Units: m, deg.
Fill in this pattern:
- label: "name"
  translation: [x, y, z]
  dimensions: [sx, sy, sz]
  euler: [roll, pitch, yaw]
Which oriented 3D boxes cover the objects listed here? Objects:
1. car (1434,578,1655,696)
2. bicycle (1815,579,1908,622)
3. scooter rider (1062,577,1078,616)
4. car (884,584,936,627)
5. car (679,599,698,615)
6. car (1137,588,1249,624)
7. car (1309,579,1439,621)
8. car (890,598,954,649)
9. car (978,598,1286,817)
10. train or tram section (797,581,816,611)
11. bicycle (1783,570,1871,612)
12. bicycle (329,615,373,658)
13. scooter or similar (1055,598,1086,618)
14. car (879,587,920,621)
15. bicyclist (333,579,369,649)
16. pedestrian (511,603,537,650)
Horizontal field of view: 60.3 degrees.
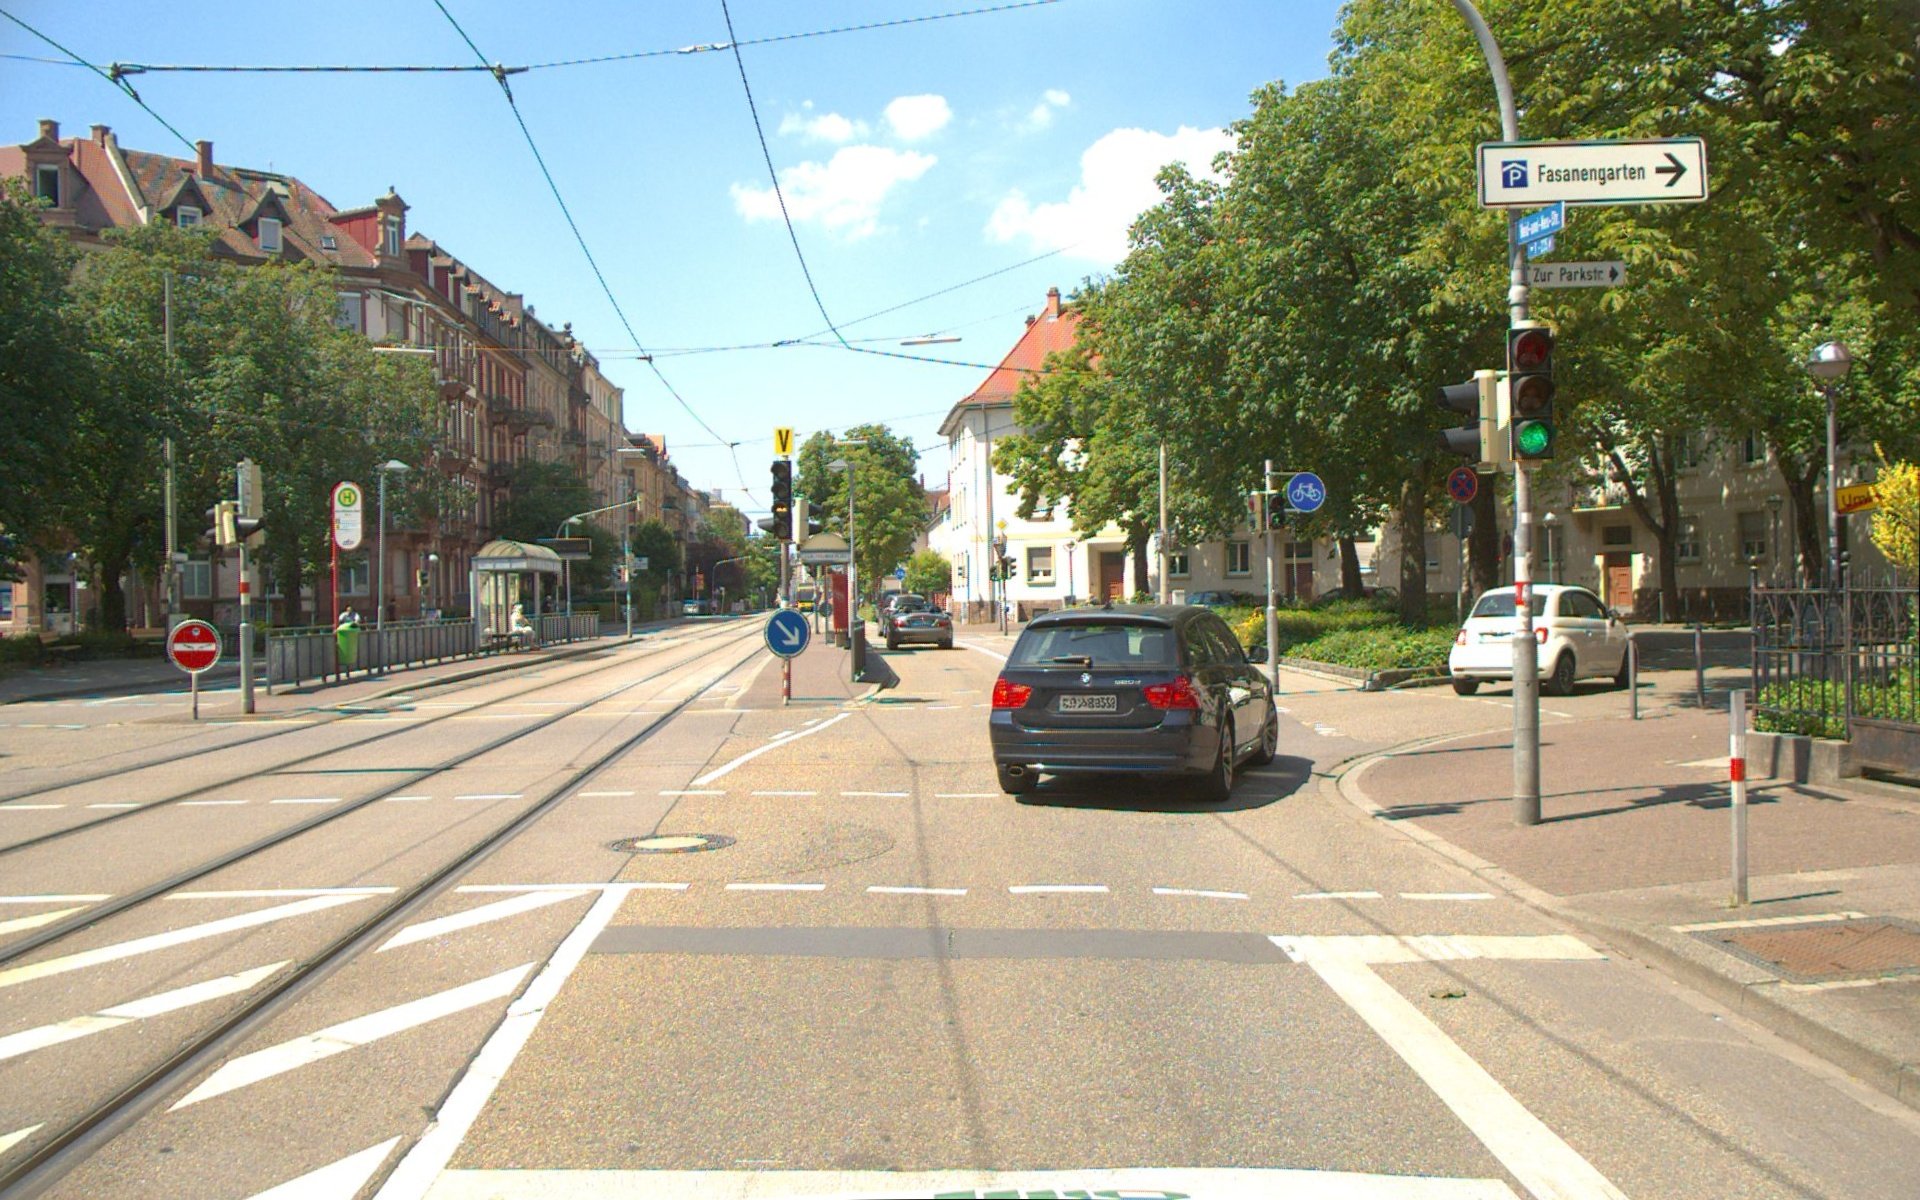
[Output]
- label: "car"
  translation: [8.442, 0.475, 23.735]
  dimensions: [1.661, 1.510, 3.661]
  euler: [-1, 1, 43]
- label: "bicycle"
  translation: [23.955, 0.009, 43.964]
  dimensions: [2.167, 1.077, 0.653]
  euler: [-1, 0, -7]
- label: "scooter rider"
  translation: [4.975, -0.163, 75.015]
  dimensions: [0.580, 1.716, 0.527]
  euler: [-1, 0, -10]
- label: "car"
  translation: [-1.936, 0.198, 63.521]
  dimensions: [1.659, 1.540, 3.815]
  euler: [-1, 0, -7]
- label: "car"
  translation: [-27.734, 0.680, 168.862]
  dimensions: [1.756, 1.614, 3.987]
  euler: [0, 0, -13]
- label: "car"
  translation: [8.848, 0.232, 62.956]
  dimensions: [3.913, 1.265, 1.620]
  euler: [-1, 0, 31]
- label: "car"
  translation: [14.403, 0.015, 57.697]
  dimensions: [1.773, 1.351, 4.283]
  euler: [-2, 0, -36]
- label: "car"
  translation: [-1.124, 0.638, 47.231]
  dimensions: [1.658, 1.346, 3.818]
  euler: [-1, 0, -4]
- label: "car"
  translation: [1.587, 0.716, 13.498]
  dimensions: [1.686, 1.433, 4.567]
  euler: [1, 0, 16]
- label: "train or tram section"
  translation: [-18.969, -0.483, 204.520]
  dimensions: [2.147, 3.543, 8.836]
  euler: [-1, 0, -5]
- label: "bicycle"
  translation: [23.968, -0.250, 45.723]
  dimensions: [2.165, 1.077, 0.557]
  euler: [-1, 0, -3]
- label: "bicycle"
  translation: [-16.917, 1.001, 45.995]
  dimensions: [0.715, 1.121, 1.713]
  euler: [-1, 0, -6]
- label: "scooter or similar"
  translation: [4.997, 0.352, 75.010]
  dimensions: [1.288, 0.852, 0.525]
  euler: [-1, 0, -10]
- label: "car"
  translation: [-3.567, 0.216, 96.140]
  dimensions: [1.956, 1.881, 3.993]
  euler: [-1, 0, -8]
- label: "bicyclist"
  translation: [-16.955, 0.385, 46.055]
  dimensions: [0.708, 1.903, 0.825]
  euler: [-1, 0, -4]
- label: "pedestrian"
  translation: [-11.918, 0.726, 45.231]
  dimensions: [0.602, 1.264, 0.626]
  euler: [-1, 0, -10]
